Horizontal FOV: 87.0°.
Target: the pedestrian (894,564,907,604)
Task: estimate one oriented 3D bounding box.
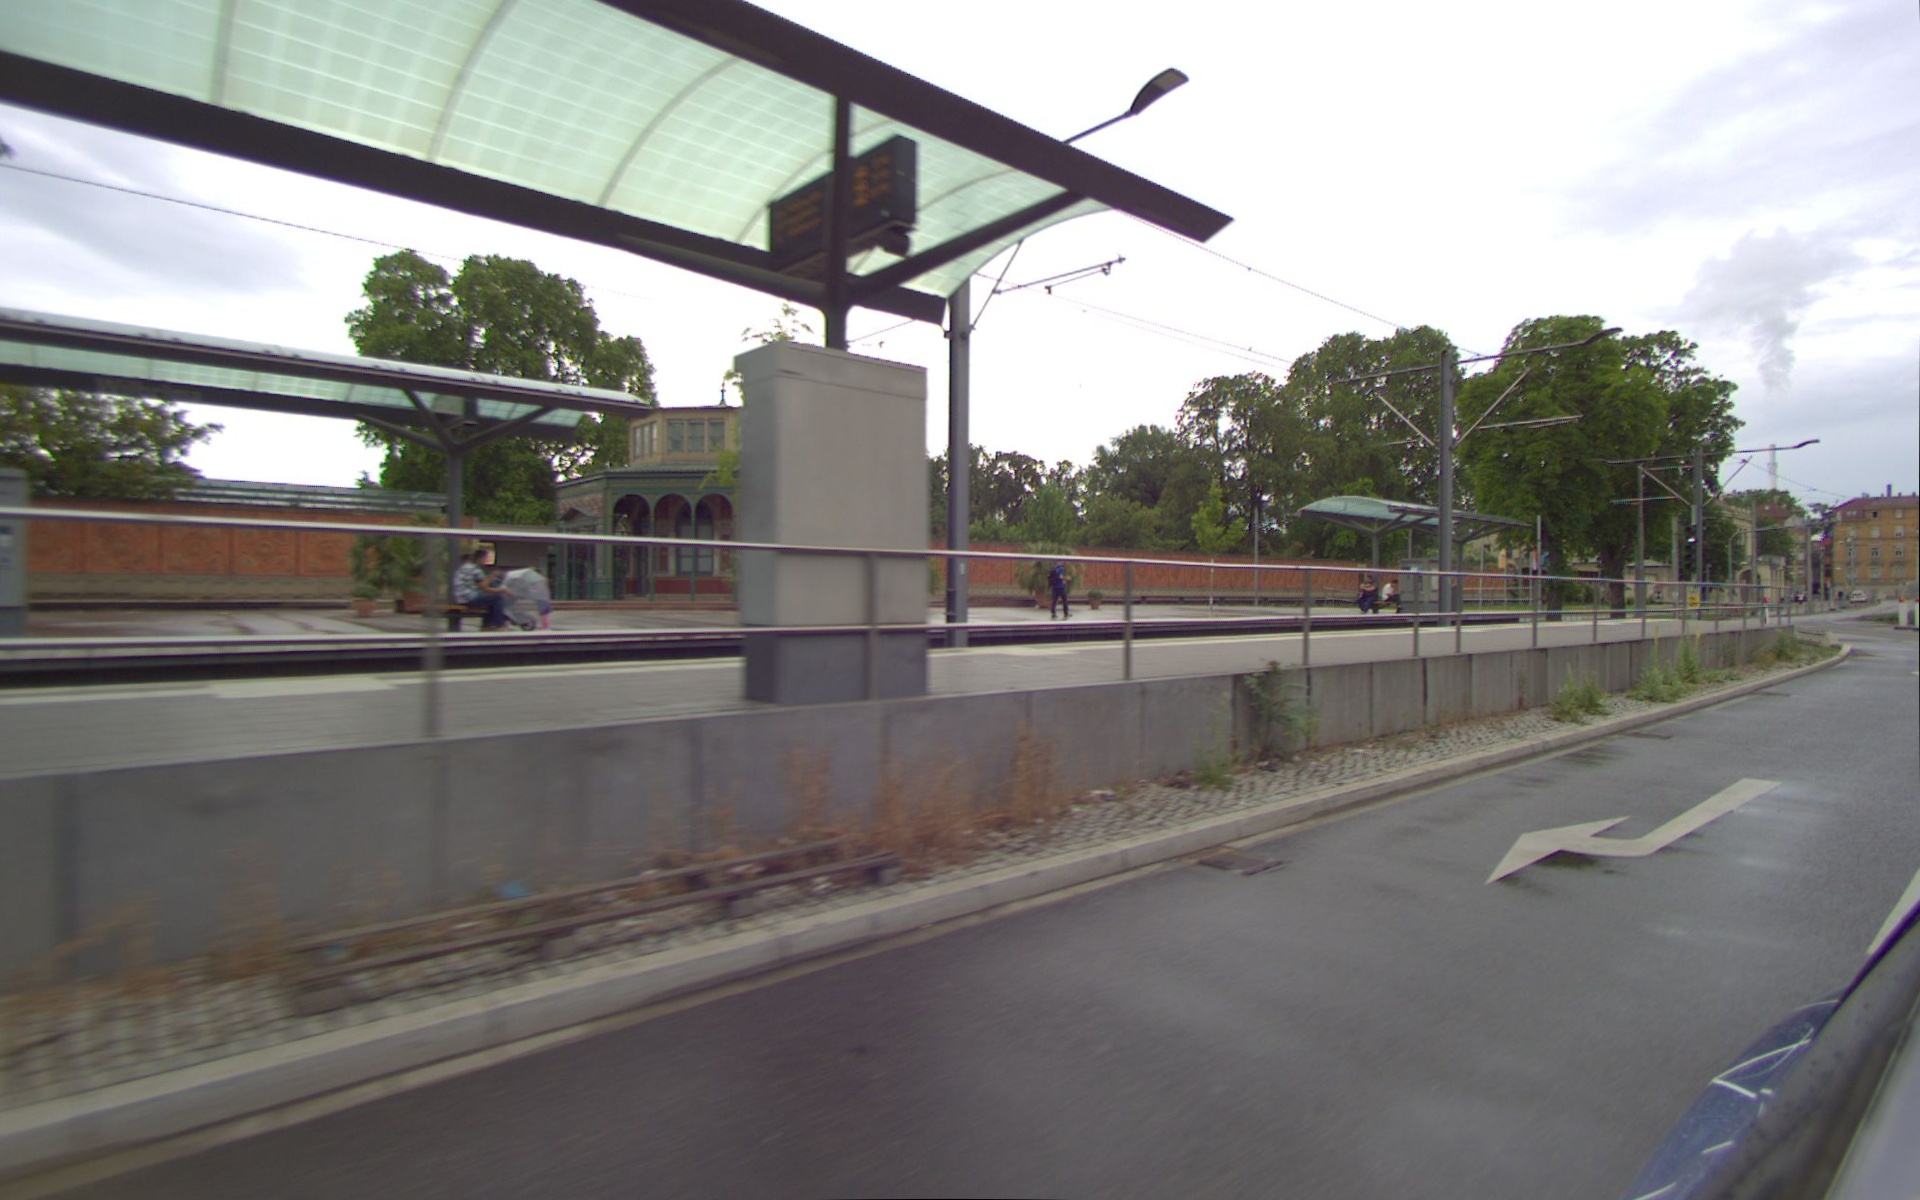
[{"bbox_3d":[-2.517,-0.674,42.830,0.460,1.678,0.552,-1,0,-7],"label":"pedestrian"}]

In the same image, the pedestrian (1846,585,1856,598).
[{"bbox_3d":[133.659,-1.285,151.780,0.768,1.830,0.697,-2,-1,8],"label":"pedestrian"}]

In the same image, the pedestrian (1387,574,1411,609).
[{"bbox_3d":[14.888,-0.283,34.296,0.597,1.133,0.514,-5,-3,33],"label":"pedestrian"}]

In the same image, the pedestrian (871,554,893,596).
[{"bbox_3d":[-3.302,-1.058,42.700,0.681,1.732,0.533,-2,-1,-30],"label":"pedestrian"}]

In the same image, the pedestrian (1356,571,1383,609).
[{"bbox_3d":[13.909,-0.344,34.357,0.518,1.228,0.770,-6,-3,45],"label":"pedestrian"}]

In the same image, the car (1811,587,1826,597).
[{"bbox_3d":[145.532,-1.420,171.524,1.825,1.602,3.939,0,1,42],"label":"car"}]

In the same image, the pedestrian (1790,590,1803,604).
[{"bbox_3d":[92.871,-0.339,112.358,0.654,1.610,0.867,1,1,-15],"label":"pedestrian"}]

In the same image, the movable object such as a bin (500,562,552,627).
[{"bbox_3d":[-7.037,-0.094,16.403,0.670,1.021,0.438,0,1,-40],"label":"movable object such as a bin"}]

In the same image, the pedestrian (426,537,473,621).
[{"bbox_3d":[-7.713,-0.312,15.289,0.541,1.241,0.438,0,1,-40],"label":"pedestrian"}]

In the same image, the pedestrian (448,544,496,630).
[{"bbox_3d":[-7.186,-0.193,14.909,0.541,1.241,0.438,0,1,-40],"label":"pedestrian"}]

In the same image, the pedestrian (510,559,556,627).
[{"bbox_3d":[-6.527,-0.117,15.480,0.541,1.021,0.438,0,1,-40],"label":"pedestrian"}]

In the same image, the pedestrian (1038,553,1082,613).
[{"bbox_3d":[3.088,-0.529,31.336,1.161,1.812,0.722,1,1,-41],"label":"pedestrian"}]

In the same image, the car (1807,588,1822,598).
[{"bbox_3d":[138.230,-1.102,163.689,1.825,1.602,3.939,0,1,42],"label":"car"}]

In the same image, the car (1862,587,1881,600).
[{"bbox_3d":[130.502,-0.966,144.875,1.838,1.661,4.078,-4,-2,44],"label":"car"}]
